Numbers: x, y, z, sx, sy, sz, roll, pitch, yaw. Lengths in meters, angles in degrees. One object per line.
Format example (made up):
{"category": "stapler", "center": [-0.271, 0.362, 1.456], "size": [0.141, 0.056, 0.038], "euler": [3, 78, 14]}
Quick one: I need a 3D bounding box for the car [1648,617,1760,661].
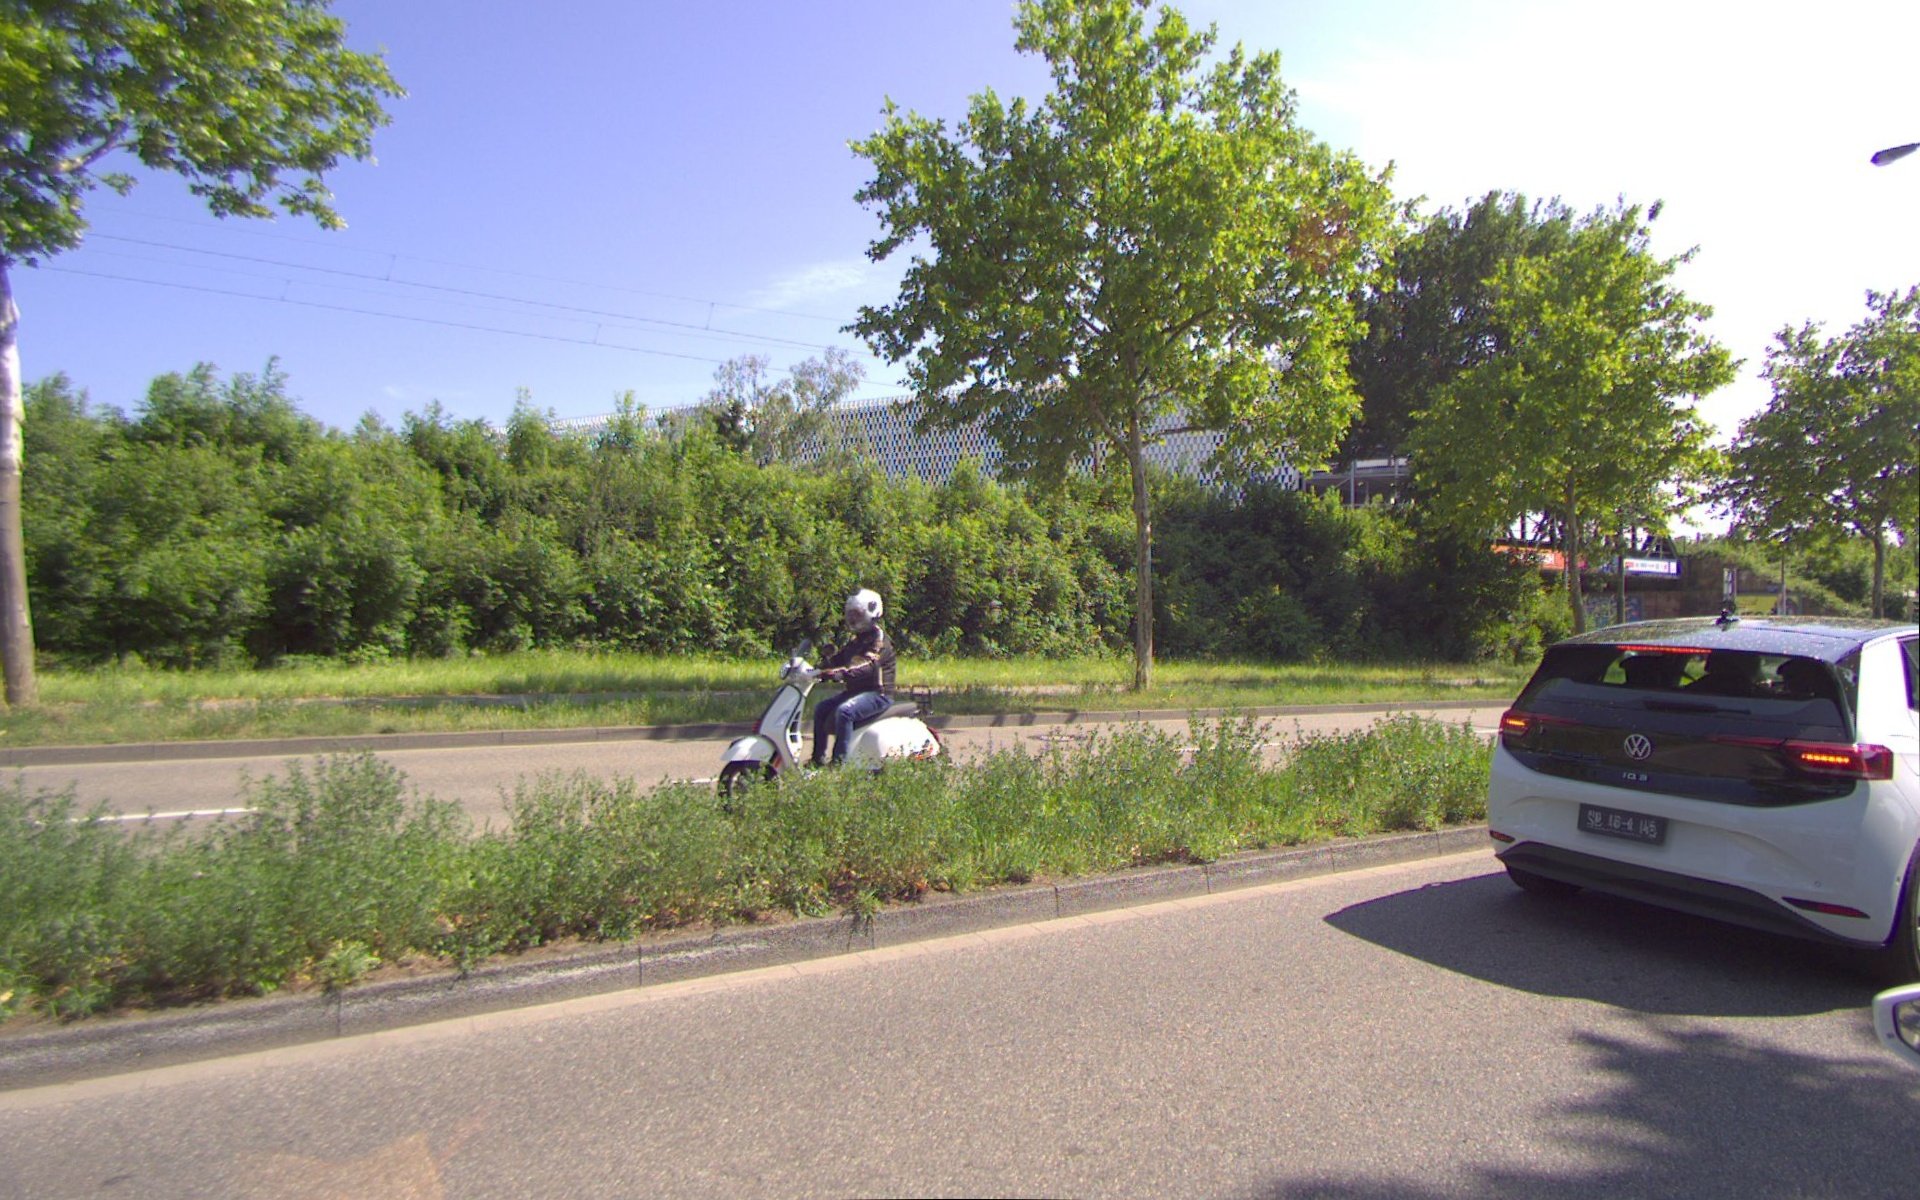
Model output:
{"category": "car", "center": [44.286, 2.278, 59.953], "size": [5.043, 2.450, 1.998], "euler": [1, -1, 26]}

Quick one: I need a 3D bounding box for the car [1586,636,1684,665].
{"category": "car", "center": [34.027, 2.531, 50.789], "size": [3.927, 1.363, 1.880], "euler": [0, -2, 28]}

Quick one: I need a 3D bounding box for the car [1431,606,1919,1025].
{"category": "car", "center": [4.735, 0.854, 5.549], "size": [4.158, 1.541, 1.811], "euler": [2, -1, -30]}

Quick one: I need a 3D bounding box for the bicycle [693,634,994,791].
{"category": "bicycle", "center": [-0.864, 0.807, 7.746], "size": [2.190, 1.043, 0.725], "euler": [1, 0, -30]}

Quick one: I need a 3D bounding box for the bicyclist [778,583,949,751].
{"category": "bicyclist", "center": [-0.752, 0.489, 7.793], "size": [1.089, 1.206, 0.725], "euler": [2, 0, -30]}

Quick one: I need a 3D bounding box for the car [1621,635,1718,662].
{"category": "car", "center": [39.816, 2.711, 56.492], "size": [4.251, 1.445, 1.485], "euler": [0, -2, 27]}
